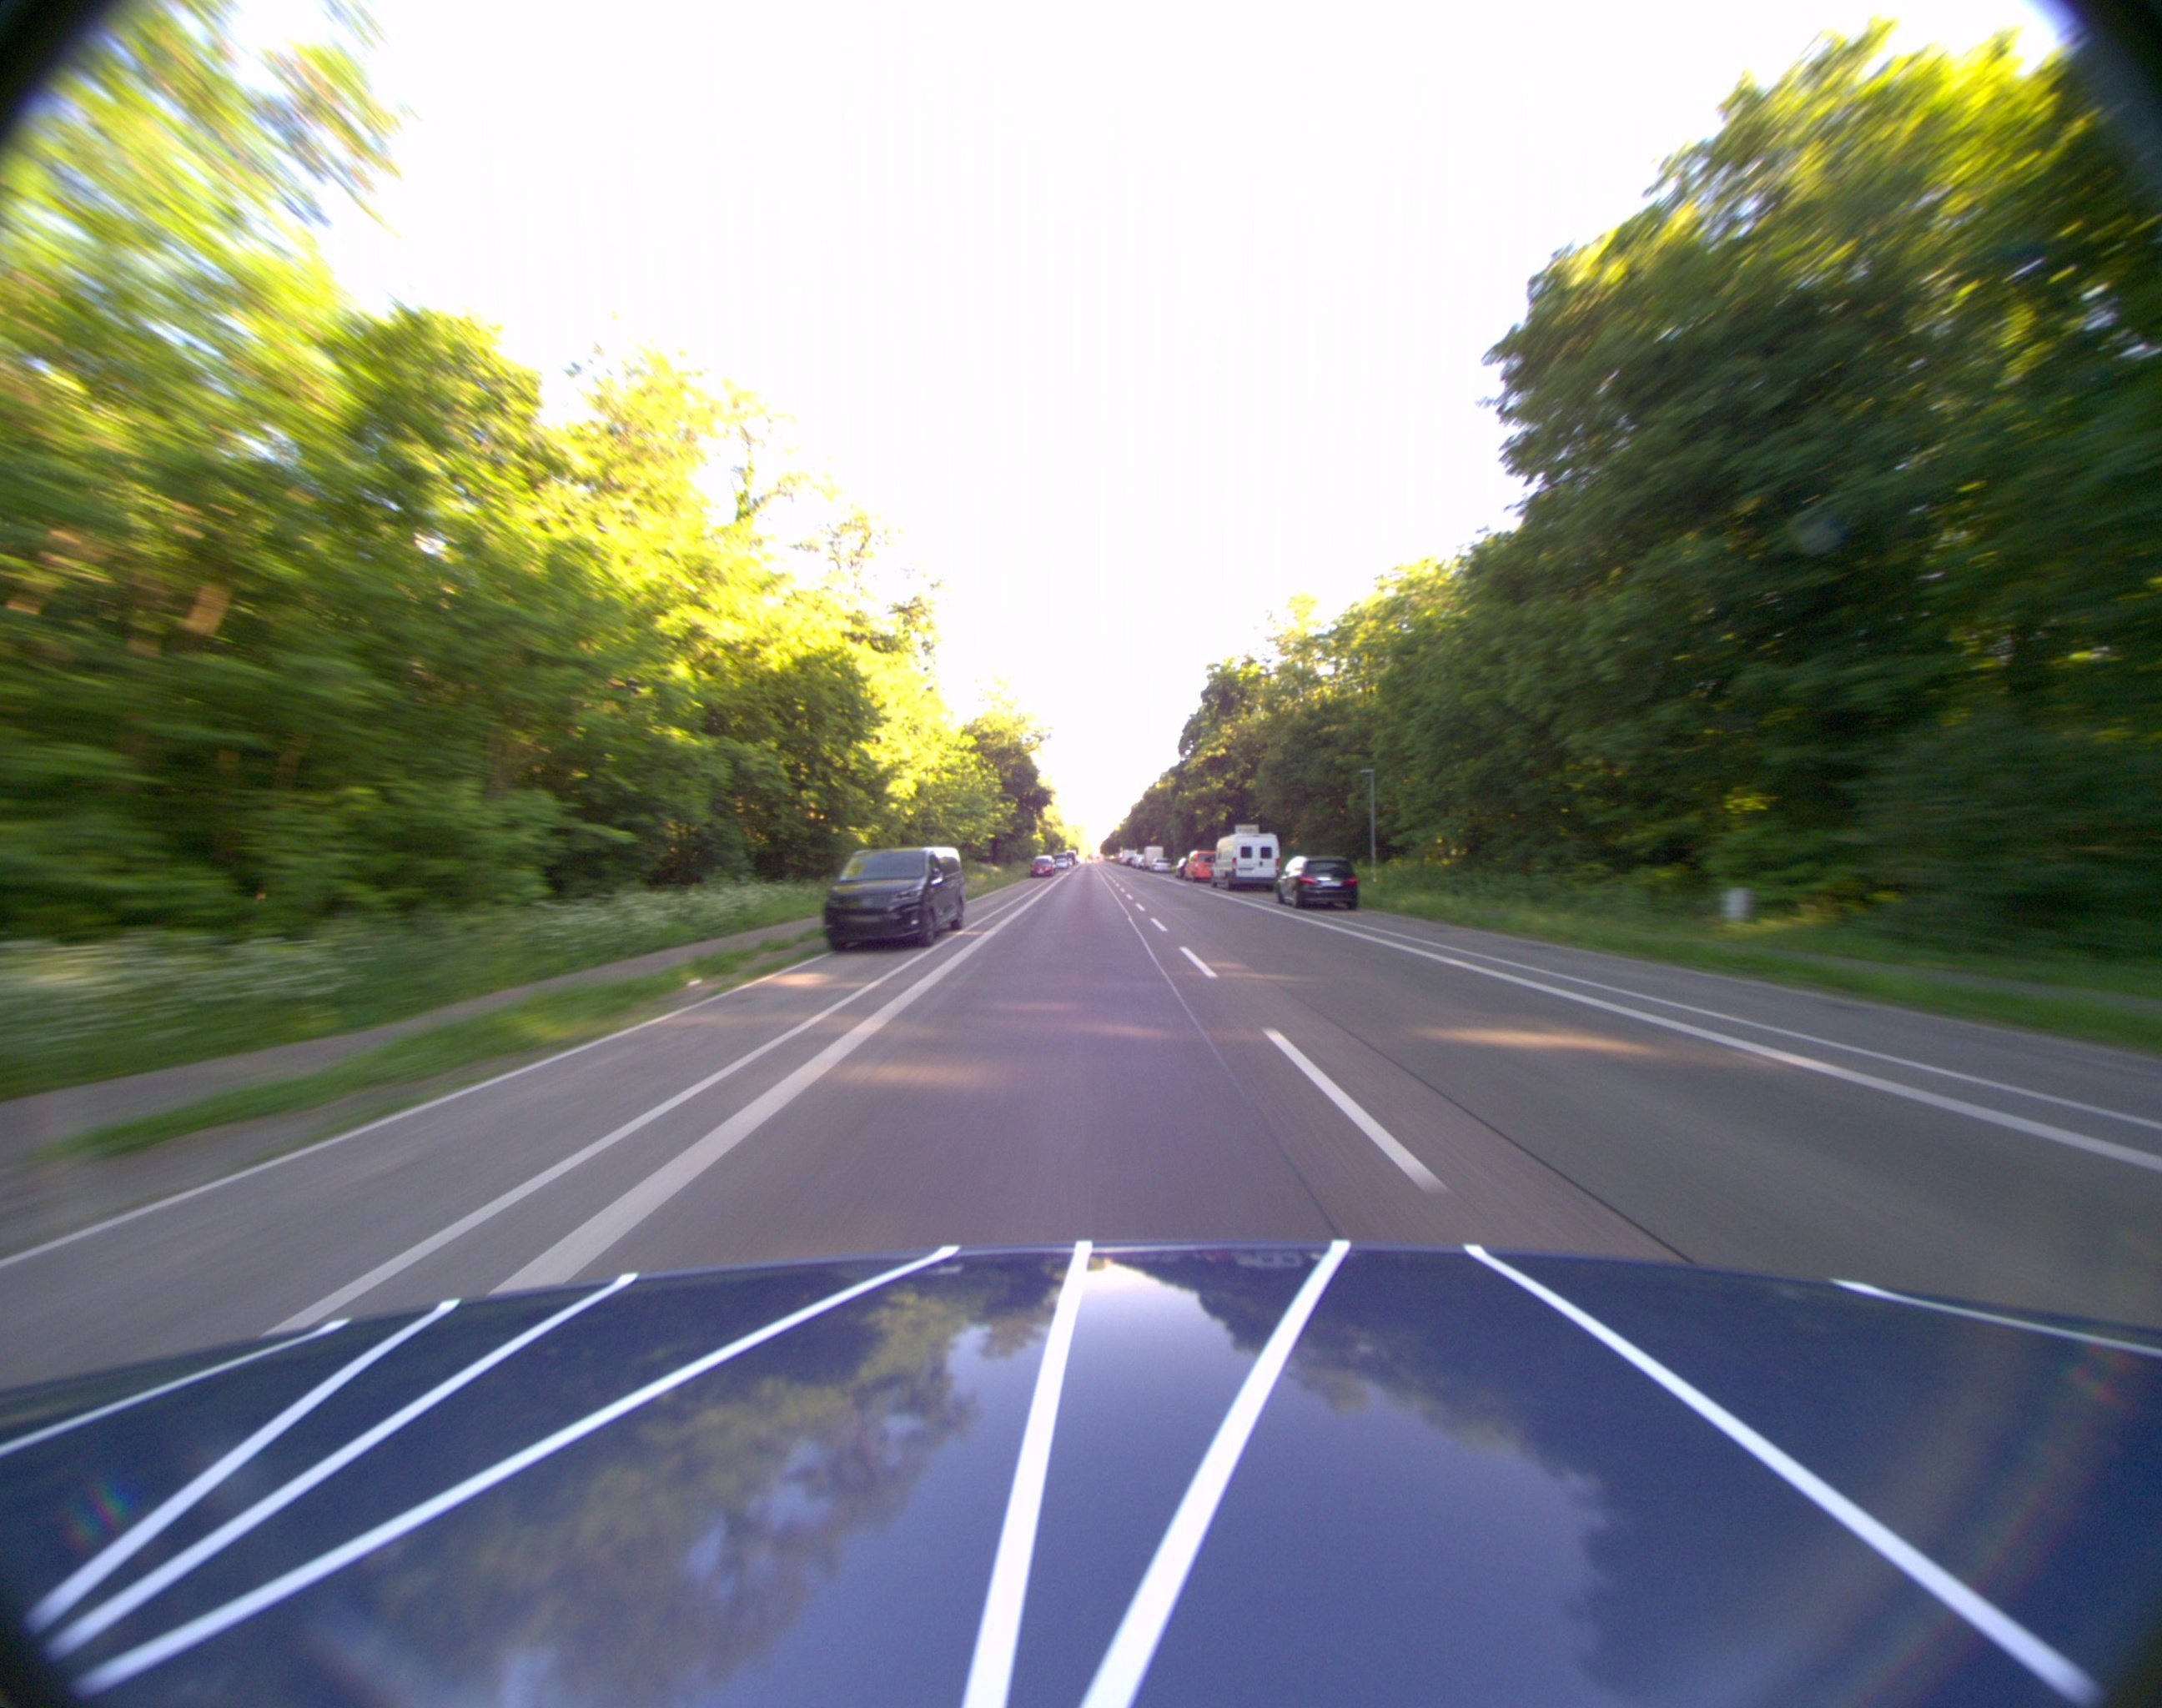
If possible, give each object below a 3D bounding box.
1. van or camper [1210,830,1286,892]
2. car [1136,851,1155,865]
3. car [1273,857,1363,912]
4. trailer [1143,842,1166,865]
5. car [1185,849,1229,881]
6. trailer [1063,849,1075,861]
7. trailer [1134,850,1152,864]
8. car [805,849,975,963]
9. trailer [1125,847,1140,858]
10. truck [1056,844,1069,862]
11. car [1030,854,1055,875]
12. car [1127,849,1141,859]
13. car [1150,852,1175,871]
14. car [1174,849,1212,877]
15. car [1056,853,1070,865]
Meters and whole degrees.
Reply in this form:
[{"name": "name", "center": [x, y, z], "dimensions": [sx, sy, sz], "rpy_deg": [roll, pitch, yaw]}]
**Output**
[{"name": "van or camper", "center": [7.583, 0.291, 35.168], "dimensions": [2.253, 2.599, 5.984], "rpy_deg": [-1, 0, 1]}, {"name": "car", "center": [8.049, 0.441, 94.997], "dimensions": [1.998, 1.620, 4.144], "rpy_deg": [-2, 0, 1]}, {"name": "car", "center": [7.055, 0.858, 23.003], "dimensions": [1.787, 1.485, 4.001], "rpy_deg": [0, 0, 5]}, {"name": "trailer", "center": [7.681, -0.091, 79.937], "dimensions": [1.998, 2.227, 3.999], "rpy_deg": [-2, 1, 1]}, {"name": "car", "center": [7.562, 0.642, 45.980], "dimensions": [1.998, 1.797, 4.144], "rpy_deg": [-2, 0, 1]}, {"name": "trailer", "center": [-2.199, 0.208, 136.102], "dimensions": [1.998, 2.002, 3.999], "rpy_deg": [-2, 1, 1]}, {"name": "trailer", "center": [8.279, 0.338, 101.797], "dimensions": [1.998, 1.776, 3.999], "rpy_deg": [-2, 1, 1]}, {"name": "car", "center": [-3.645, 0.883, 15.706], "dimensions": [1.998, 1.888, 5.473], "rpy_deg": [-2, 0, 1]}, {"name": "trailer", "center": [9.100, -0.268, 135.215], "dimensions": [2.306, 1.972, 3.999], "rpy_deg": [-2, 1, 1]}, {"name": "truck", "center": [-2.767, -0.155, 115.361], "dimensions": [1.670, 2.755, 4.000], "rpy_deg": [-2, 0, 1]}, {"name": "car", "center": [-3.189, 0.852, 64.075], "dimensions": [1.837, 1.608, 4.000], "rpy_deg": [-2, 0, 1]}, {"name": "car", "center": [8.940, 0.039, 127.945], "dimensions": [1.998, 1.620, 4.144], "rpy_deg": [-2, 0, 1]}, {"name": "car", "center": [7.782, 0.697, 72.964], "dimensions": [1.998, 1.620, 4.144], "rpy_deg": [-2, 0, 1]}, {"name": "car", "center": [7.627, 0.571, 52.246], "dimensions": [1.998, 1.797, 4.144], "rpy_deg": [-2, 0, 1]}, {"name": "car", "center": [-2.611, 0.702, 109.098], "dimensions": [1.837, 1.608, 4.000], "rpy_deg": [-2, 0, 1]}]
